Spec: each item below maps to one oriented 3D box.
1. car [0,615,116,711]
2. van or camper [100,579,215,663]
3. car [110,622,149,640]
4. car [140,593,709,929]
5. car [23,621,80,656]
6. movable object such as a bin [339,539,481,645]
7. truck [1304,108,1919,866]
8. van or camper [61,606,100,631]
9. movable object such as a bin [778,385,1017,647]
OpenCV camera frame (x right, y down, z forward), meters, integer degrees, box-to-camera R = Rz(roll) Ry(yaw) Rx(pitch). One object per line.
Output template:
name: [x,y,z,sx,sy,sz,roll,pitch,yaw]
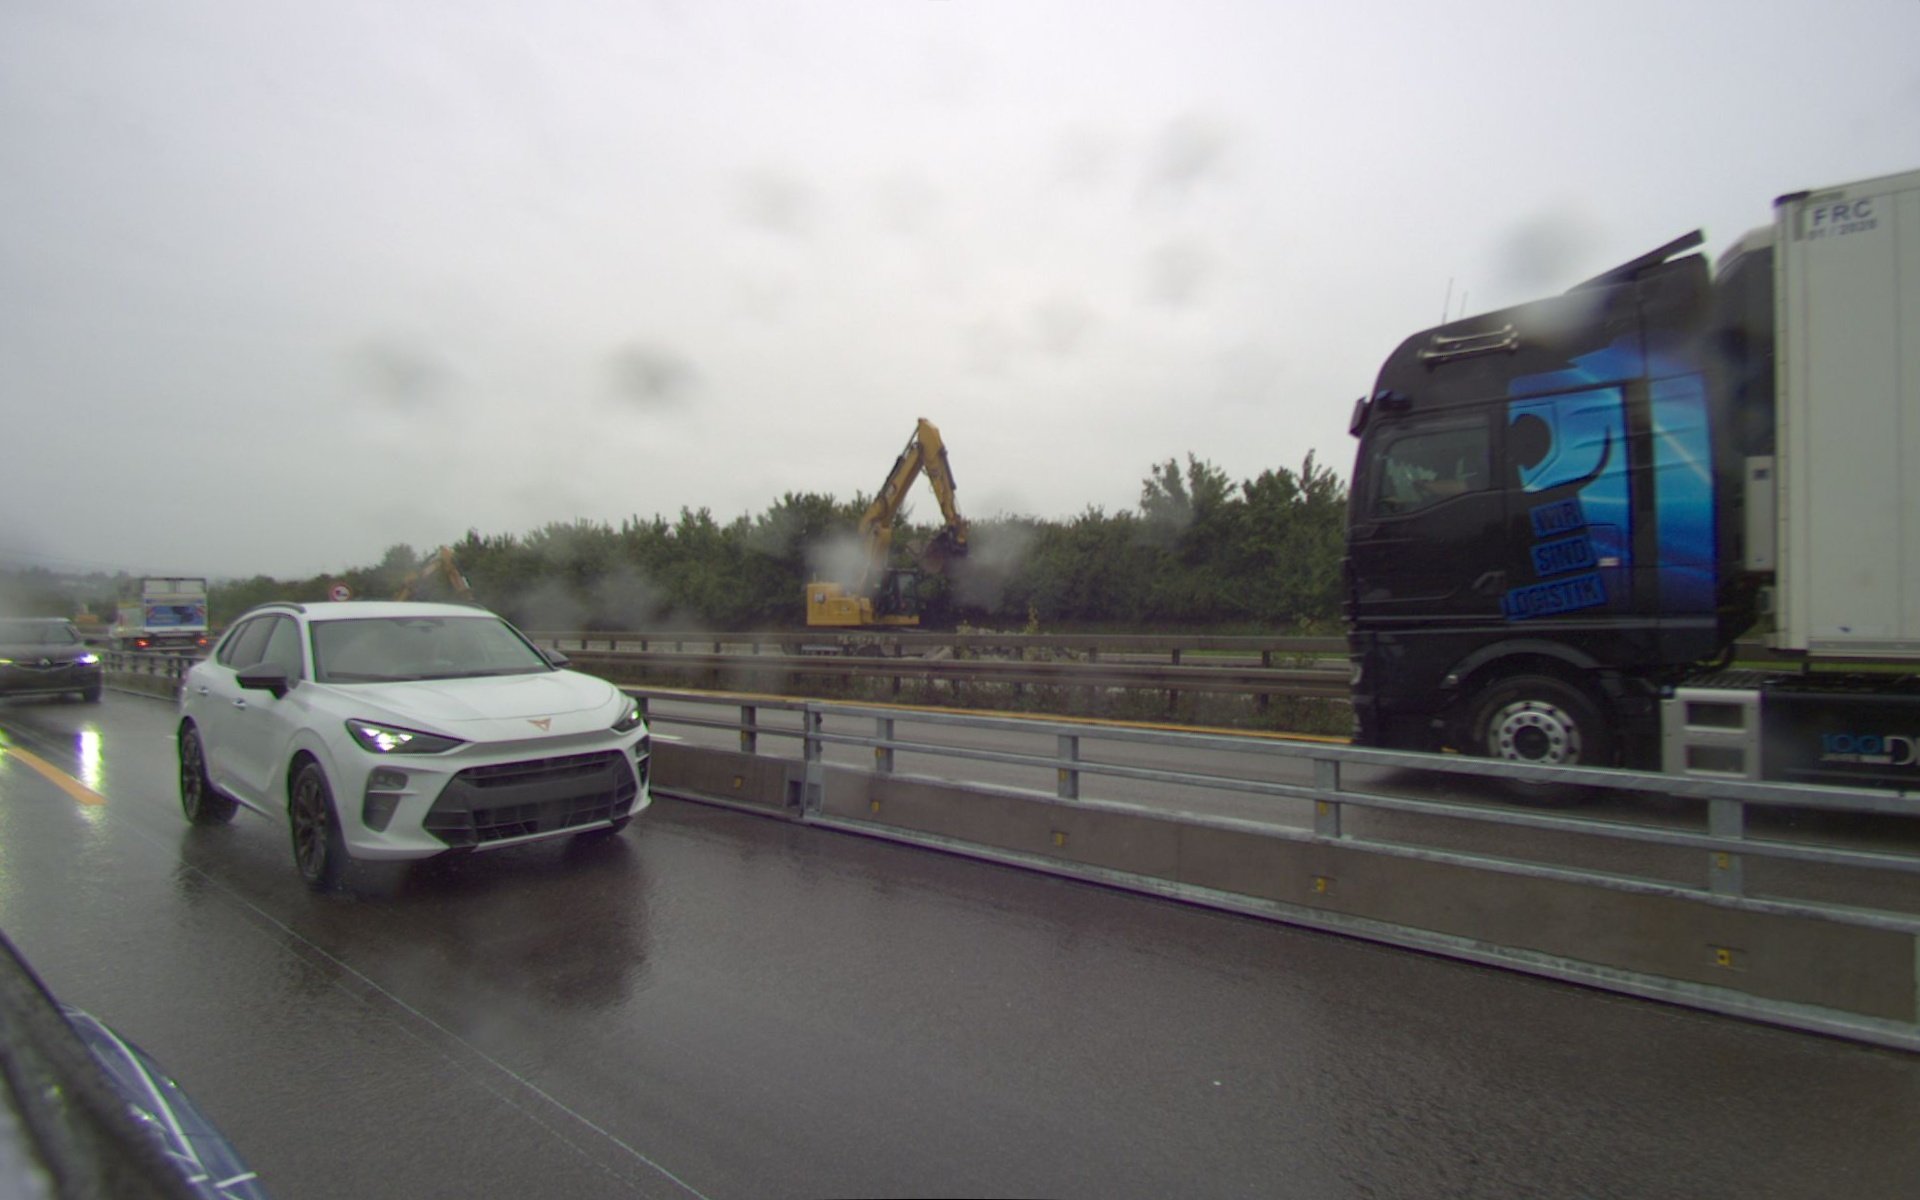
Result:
car: [-18.232,1.132,19.680,5.193,1.640,2.042,-1,-1,41]
van or camper: [-31.725,0.764,39.916,6.695,3.064,2.270,-1,0,41]
car: [-91.902,3.403,111.959,5.355,1.981,2.075,-1,-1,37]
car: [-4.031,0.774,7.109,5.005,1.562,1.907,-1,0,42]
car: [-47.063,1.942,52.397,4.540,1.681,1.619,-1,0,41]
movable object such as a bin: [-33.831,-0.450,62.003,11.042,5.959,4.127,-1,0,42]
truck: [6.037,-0.623,7.028,6.325,4.264,2.858,-1,-1,42]
van or camper: [-156.028,3.260,179.541,8.488,4.356,3.338,-1,0,35]
movable object such as a bin: [-2.382,-2.624,35.813,8.305,8.204,3.558,-1,0,42]
